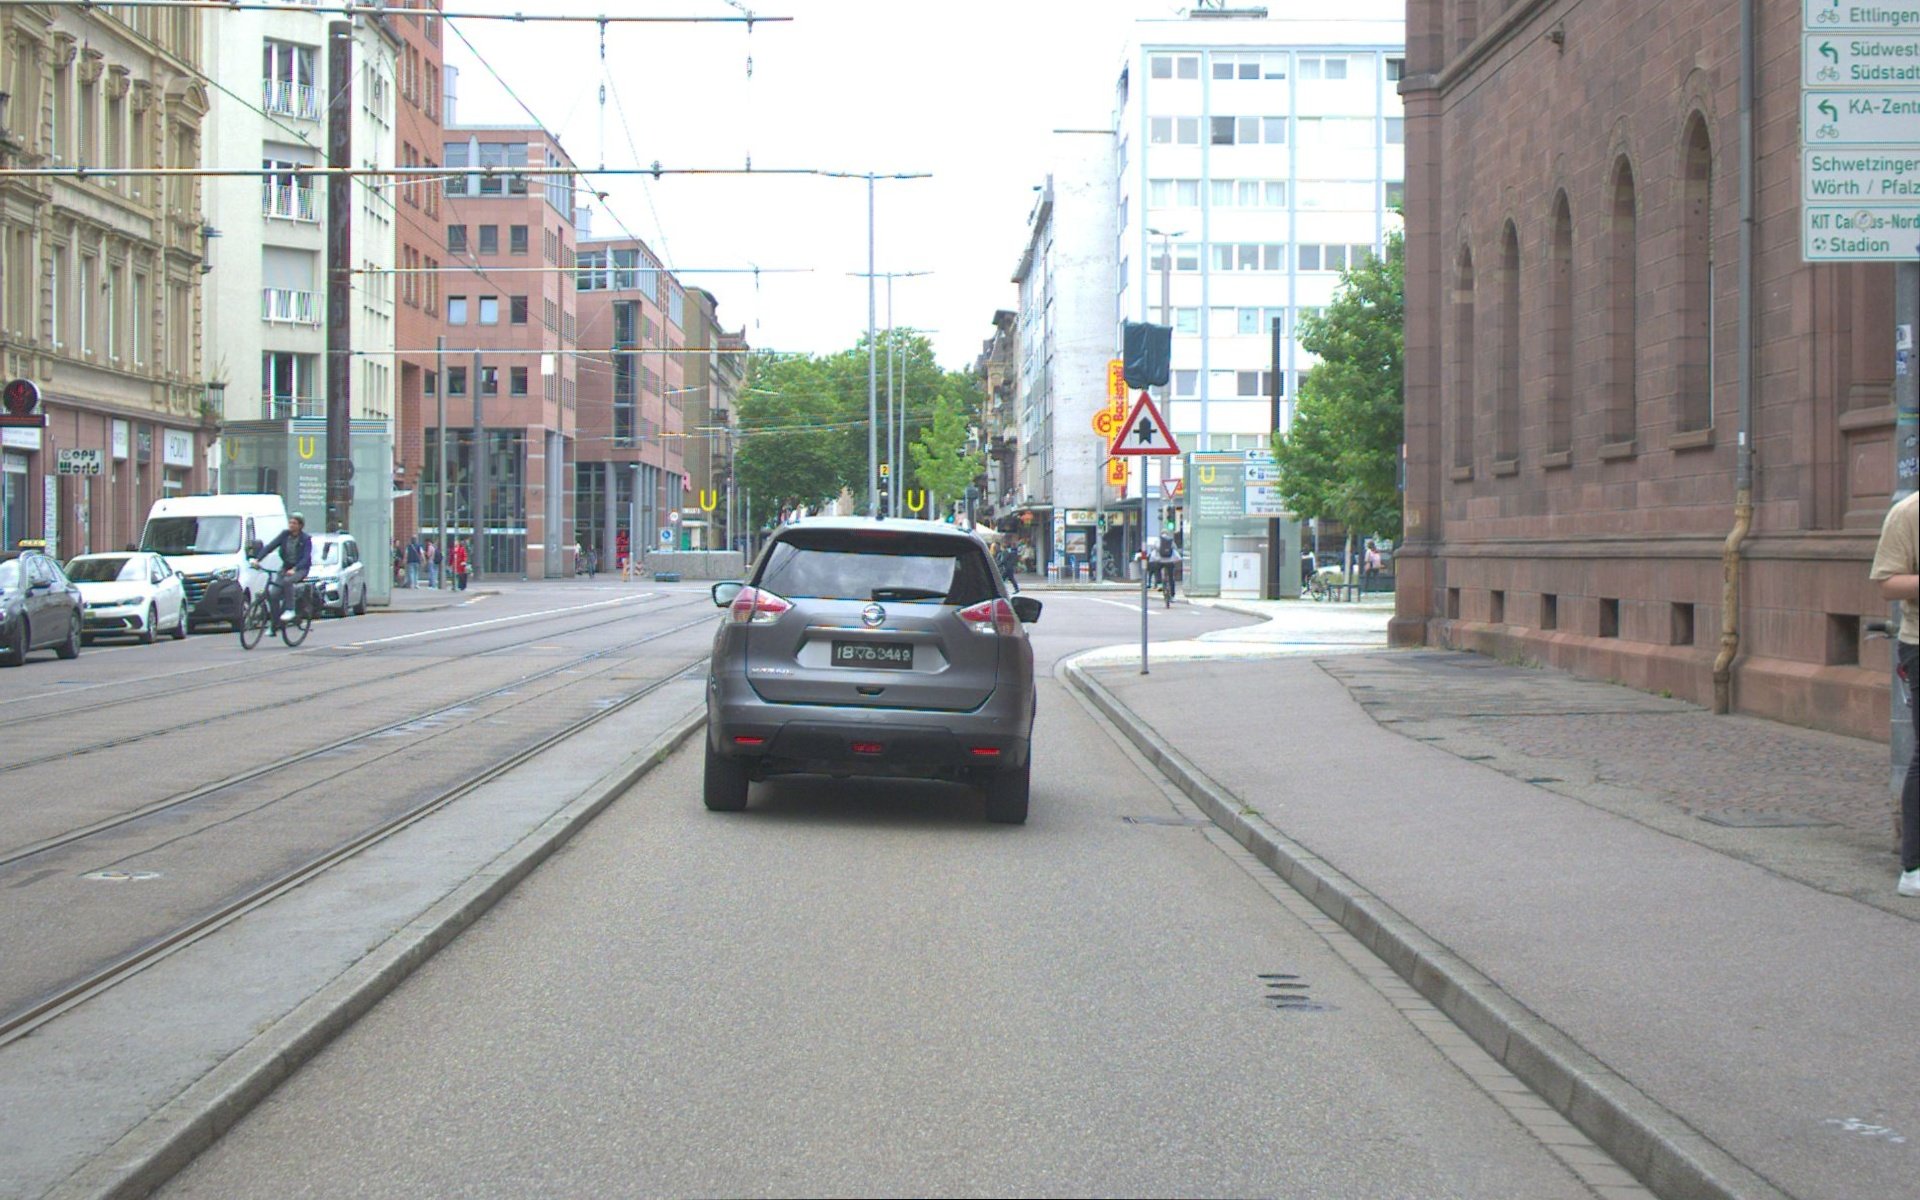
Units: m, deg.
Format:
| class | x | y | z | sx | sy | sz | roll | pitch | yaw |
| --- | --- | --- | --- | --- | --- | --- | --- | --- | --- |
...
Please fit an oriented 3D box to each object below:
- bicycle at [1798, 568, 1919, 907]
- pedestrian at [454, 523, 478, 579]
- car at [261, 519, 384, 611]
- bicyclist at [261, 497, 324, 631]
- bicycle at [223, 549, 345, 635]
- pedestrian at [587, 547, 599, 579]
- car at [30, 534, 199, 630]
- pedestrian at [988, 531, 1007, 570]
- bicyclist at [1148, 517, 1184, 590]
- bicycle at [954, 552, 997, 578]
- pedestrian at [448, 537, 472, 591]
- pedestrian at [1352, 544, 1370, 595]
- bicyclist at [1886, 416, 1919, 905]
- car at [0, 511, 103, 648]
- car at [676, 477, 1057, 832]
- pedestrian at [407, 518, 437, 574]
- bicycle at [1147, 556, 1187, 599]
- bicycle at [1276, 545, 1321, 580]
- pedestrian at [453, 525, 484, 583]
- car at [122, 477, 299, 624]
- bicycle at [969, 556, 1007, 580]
| class | x | y | z | sx | sy | sz | roll | pitch | yaw |
| --- | --- | --- | --- | --- | --- | --- | --- | --- | --- |
| bicycle | 3.846 | 0.520 | 13.602 | 0.445 | 1.272 | 2.227 | -1 | 1 | -1 |
| pedestrian | -14.997 | -1.496 | 104.335 | 0.660 | 1.681 | 0.723 | 0 | -1 | -13 |
| car | -13.552 | -0.758 | 73.318 | 1.902 | 1.858 | 4.521 | -1 | 1 | -2 |
| bicyclist | -9.496 | -0.516 | 48.933 | 0.645 | 1.877 | 1.028 | 1 | 1 | 1 |
| bicycle | -9.605 | -0.123 | 48.922 | 0.586 | 1.170 | 2.042 | -1 | 1 | 25 |
| pedestrian | -18.020 | -1.811 | 168.749 | 0.448 | 1.527 | 0.522 | 1 | 1 | -18 |
| car | -13.380 | -0.303 | 54.620 | 1.770 | 1.418 | 4.165 | -2 | 1 | -2 |
| pedestrian | 1.724 | -2.259 | 156.930 | 0.732 | 1.740 | 0.663 | 1 | 1 | -8 |
| bicyclist | 5.192 | -1.176 | 86.578 | 0.834 | 1.806 | 0.877 | 1 | 1 | 2 |
| bicycle | 0.713 | -1.606 | 157.601 | 1.866 | 1.168 | 0.531 | 1 | 1 | -15 |
| pedestrian | -15.525 | -1.117 | 106.750 | 0.720 | 1.681 | 0.662 | 0 | -1 | -11 |
| pedestrian | 12.297 | -0.923 | 105.448 | 0.432 | 1.550 | 0.499 | 1 | 0 | -1 |
| bicyclist | 3.888 | 0.226 | 13.195 | 0.528 | 1.852 | 0.450 | 0 | 1 | -1 |
| car | -12.749 | -0.258 | 45.038 | 1.919 | 1.683 | 5.053 | -2 | 1 | -2 |
| car | -0.438 | 0.250 | 20.565 | 1.863 | 1.768 | 4.567 | 4 | 1 | 2 |
| pedestrian | -16.534 | -1.658 | 105.650 | 0.868 | 1.681 | 0.662 | 0 | -1 | -15 |
| bicycle | 5.207 | -0.567 | 86.716 | 0.902 | 1.041 | 3.277 | 1 | 1 | 2 |
| bicycle | 9.520 | -1.066 | 96.697 | 0.659 | 0.975 | 1.752 | 0 | 1 | 28 |
| pedestrian | -16.261 | -1.521 | 113.819 | 0.896 | 1.883 | 0.799 | 2 | 0 | -3 |
| car | -13.531 | -0.898 | 62.401 | 2.052 | 2.478 | 5.666 | -2 | 1 | -2 |
| bicycle | 1.283 | -1.460 | 157.475 | 1.695 | 1.062 | 0.437 | 1 | 1 | -15 |
